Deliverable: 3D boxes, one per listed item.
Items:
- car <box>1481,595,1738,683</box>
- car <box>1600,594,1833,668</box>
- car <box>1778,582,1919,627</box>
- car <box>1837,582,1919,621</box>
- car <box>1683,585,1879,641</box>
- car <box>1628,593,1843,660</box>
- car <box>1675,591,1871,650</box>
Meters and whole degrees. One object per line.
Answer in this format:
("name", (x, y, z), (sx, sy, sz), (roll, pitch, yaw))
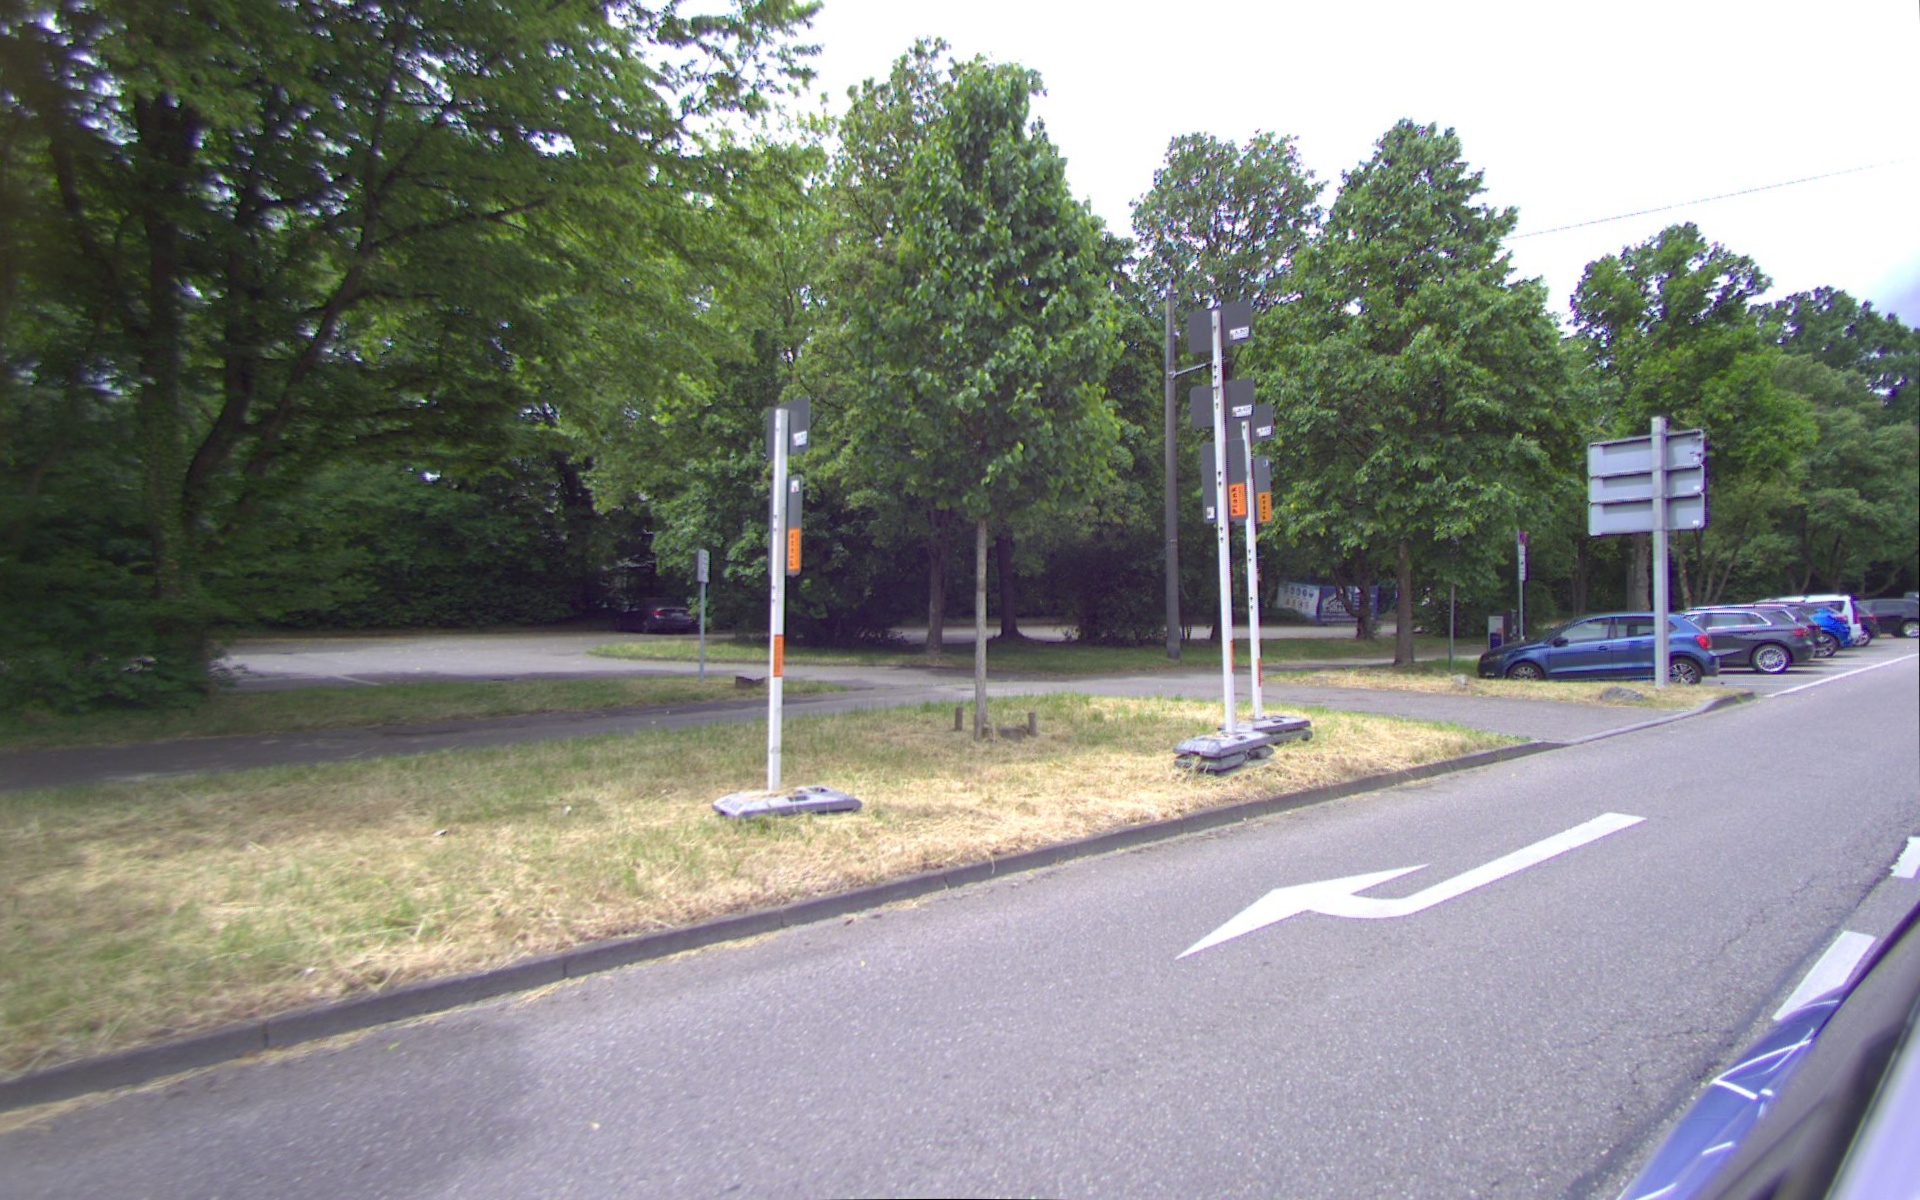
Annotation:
("car", (12.248, 0.668, 19.402), (3.965, 1.504, 1.899), (0, 1, 30))
("car", (16.557, 0.630, 22.438), (3.970, 1.505, 1.897), (0, 0, 33))
("car", (33.900, 0.167, 38.340), (4.391, 1.629, 1.974), (-1, -1, 36))
("car", (40.492, 0.081, 43.344), (4.400, 1.629, 1.970), (-1, -1, 41))
("car", (25.361, 0.404, 31.489), (4.376, 1.629, 1.981), (0, -1, 27))
("car", (18.764, 0.599, 24.750), (3.970, 1.505, 1.897), (0, 0, 33))
("car", (22.189, 0.528, 27.850), (3.970, 1.505, 1.897), (0, 0, 33))
